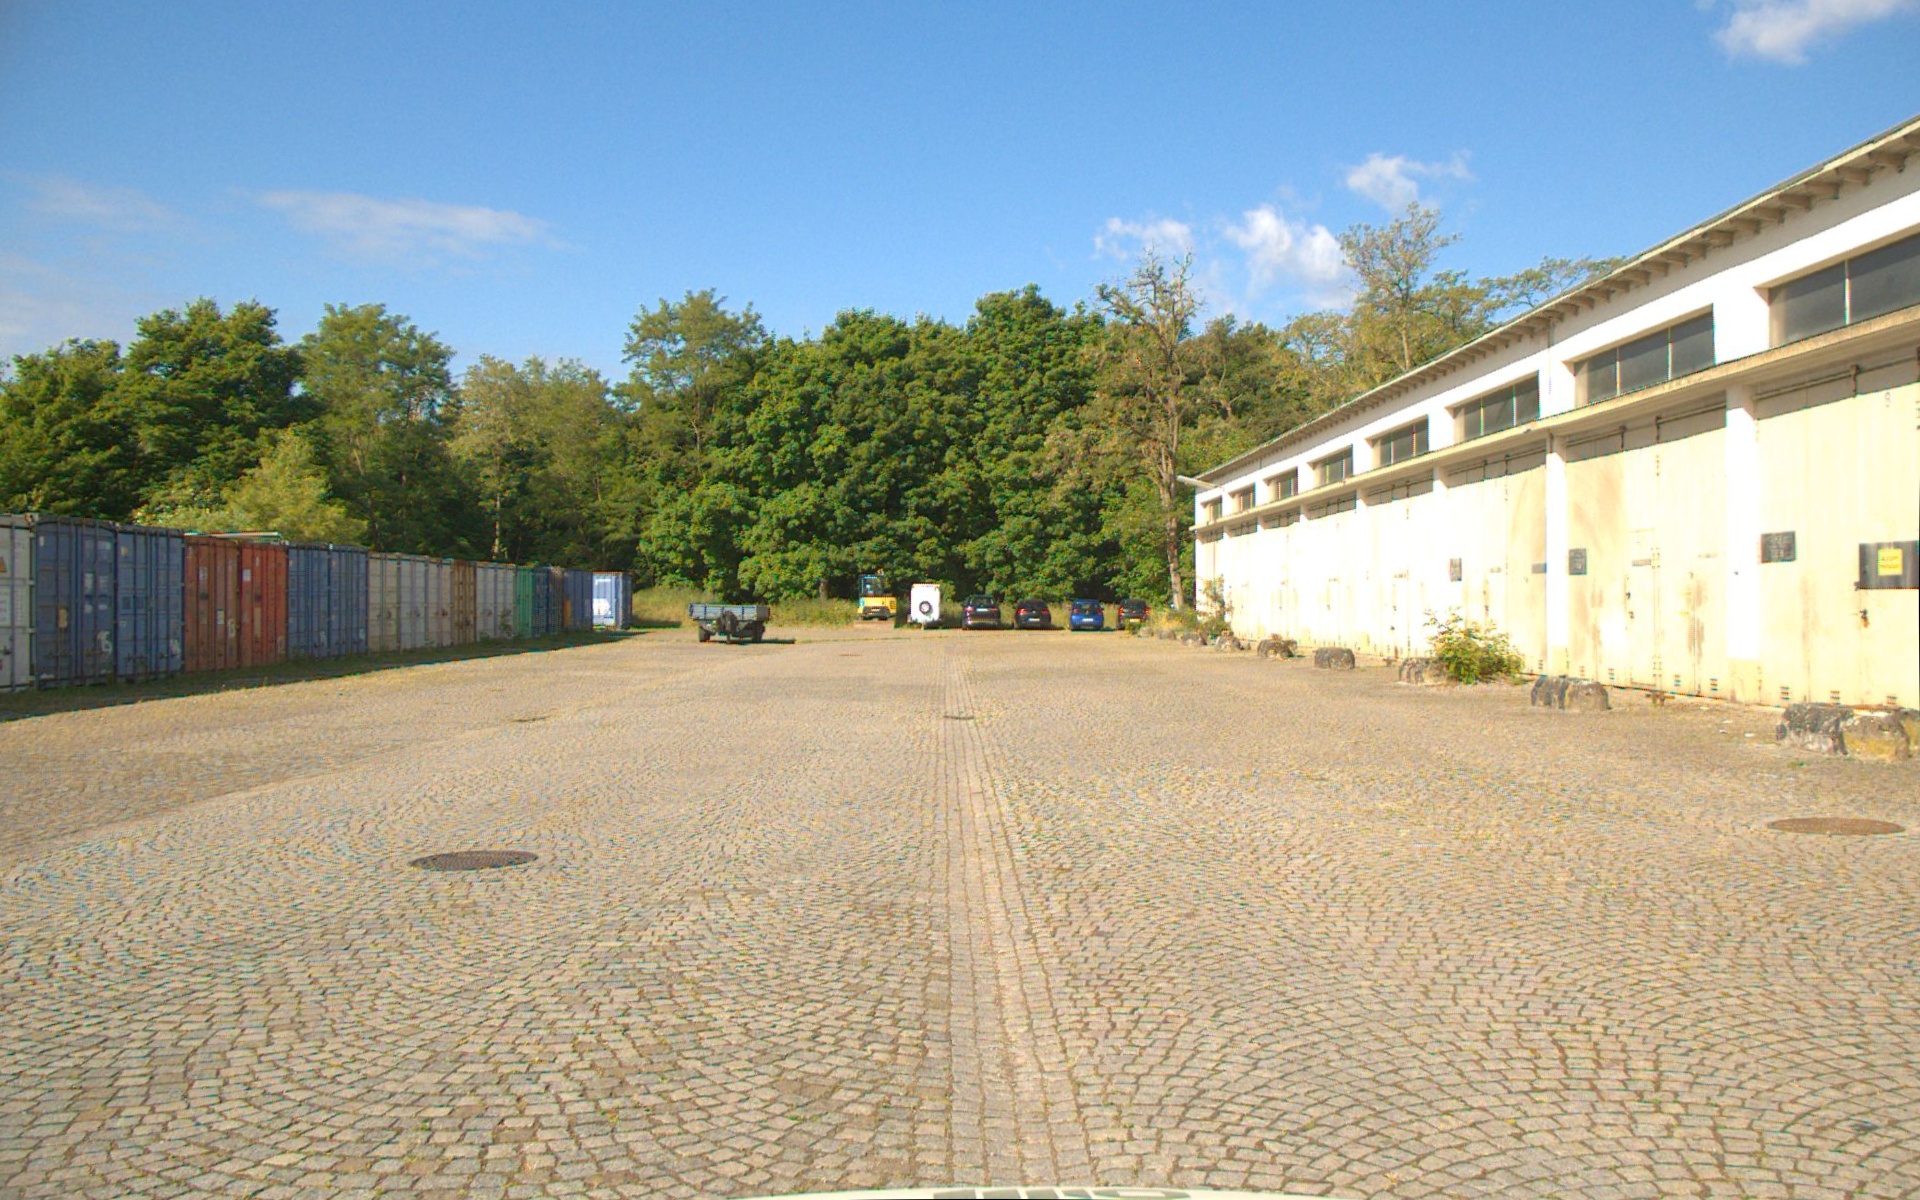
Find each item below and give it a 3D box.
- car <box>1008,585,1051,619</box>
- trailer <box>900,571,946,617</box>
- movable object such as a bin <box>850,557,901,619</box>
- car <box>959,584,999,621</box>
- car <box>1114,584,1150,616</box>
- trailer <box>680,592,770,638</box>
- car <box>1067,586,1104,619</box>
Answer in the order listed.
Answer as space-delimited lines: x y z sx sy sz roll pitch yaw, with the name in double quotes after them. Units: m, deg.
3.314 0.060 79.609 1.826 1.495 4.295 0 2 -1 "car"
-1.806 -0.330 81.533 2.148 2.131 5.750 0 2 -1 "trailer"
-4.152 -0.644 82.087 2.259 2.947 5.752 0 2 0 "movable object such as a bin"
0.878 0.100 79.202 1.826 1.617 4.295 0 2 -1 "car"
8.412 -0.023 81.041 1.707 1.461 4.186 0 2 6 "car"
-8.622 0.512 61.332 2.651 1.491 6.245 0 1 -2 "trailer"
6.027 0.084 79.594 1.707 1.461 4.186 0 2 4 "car"
